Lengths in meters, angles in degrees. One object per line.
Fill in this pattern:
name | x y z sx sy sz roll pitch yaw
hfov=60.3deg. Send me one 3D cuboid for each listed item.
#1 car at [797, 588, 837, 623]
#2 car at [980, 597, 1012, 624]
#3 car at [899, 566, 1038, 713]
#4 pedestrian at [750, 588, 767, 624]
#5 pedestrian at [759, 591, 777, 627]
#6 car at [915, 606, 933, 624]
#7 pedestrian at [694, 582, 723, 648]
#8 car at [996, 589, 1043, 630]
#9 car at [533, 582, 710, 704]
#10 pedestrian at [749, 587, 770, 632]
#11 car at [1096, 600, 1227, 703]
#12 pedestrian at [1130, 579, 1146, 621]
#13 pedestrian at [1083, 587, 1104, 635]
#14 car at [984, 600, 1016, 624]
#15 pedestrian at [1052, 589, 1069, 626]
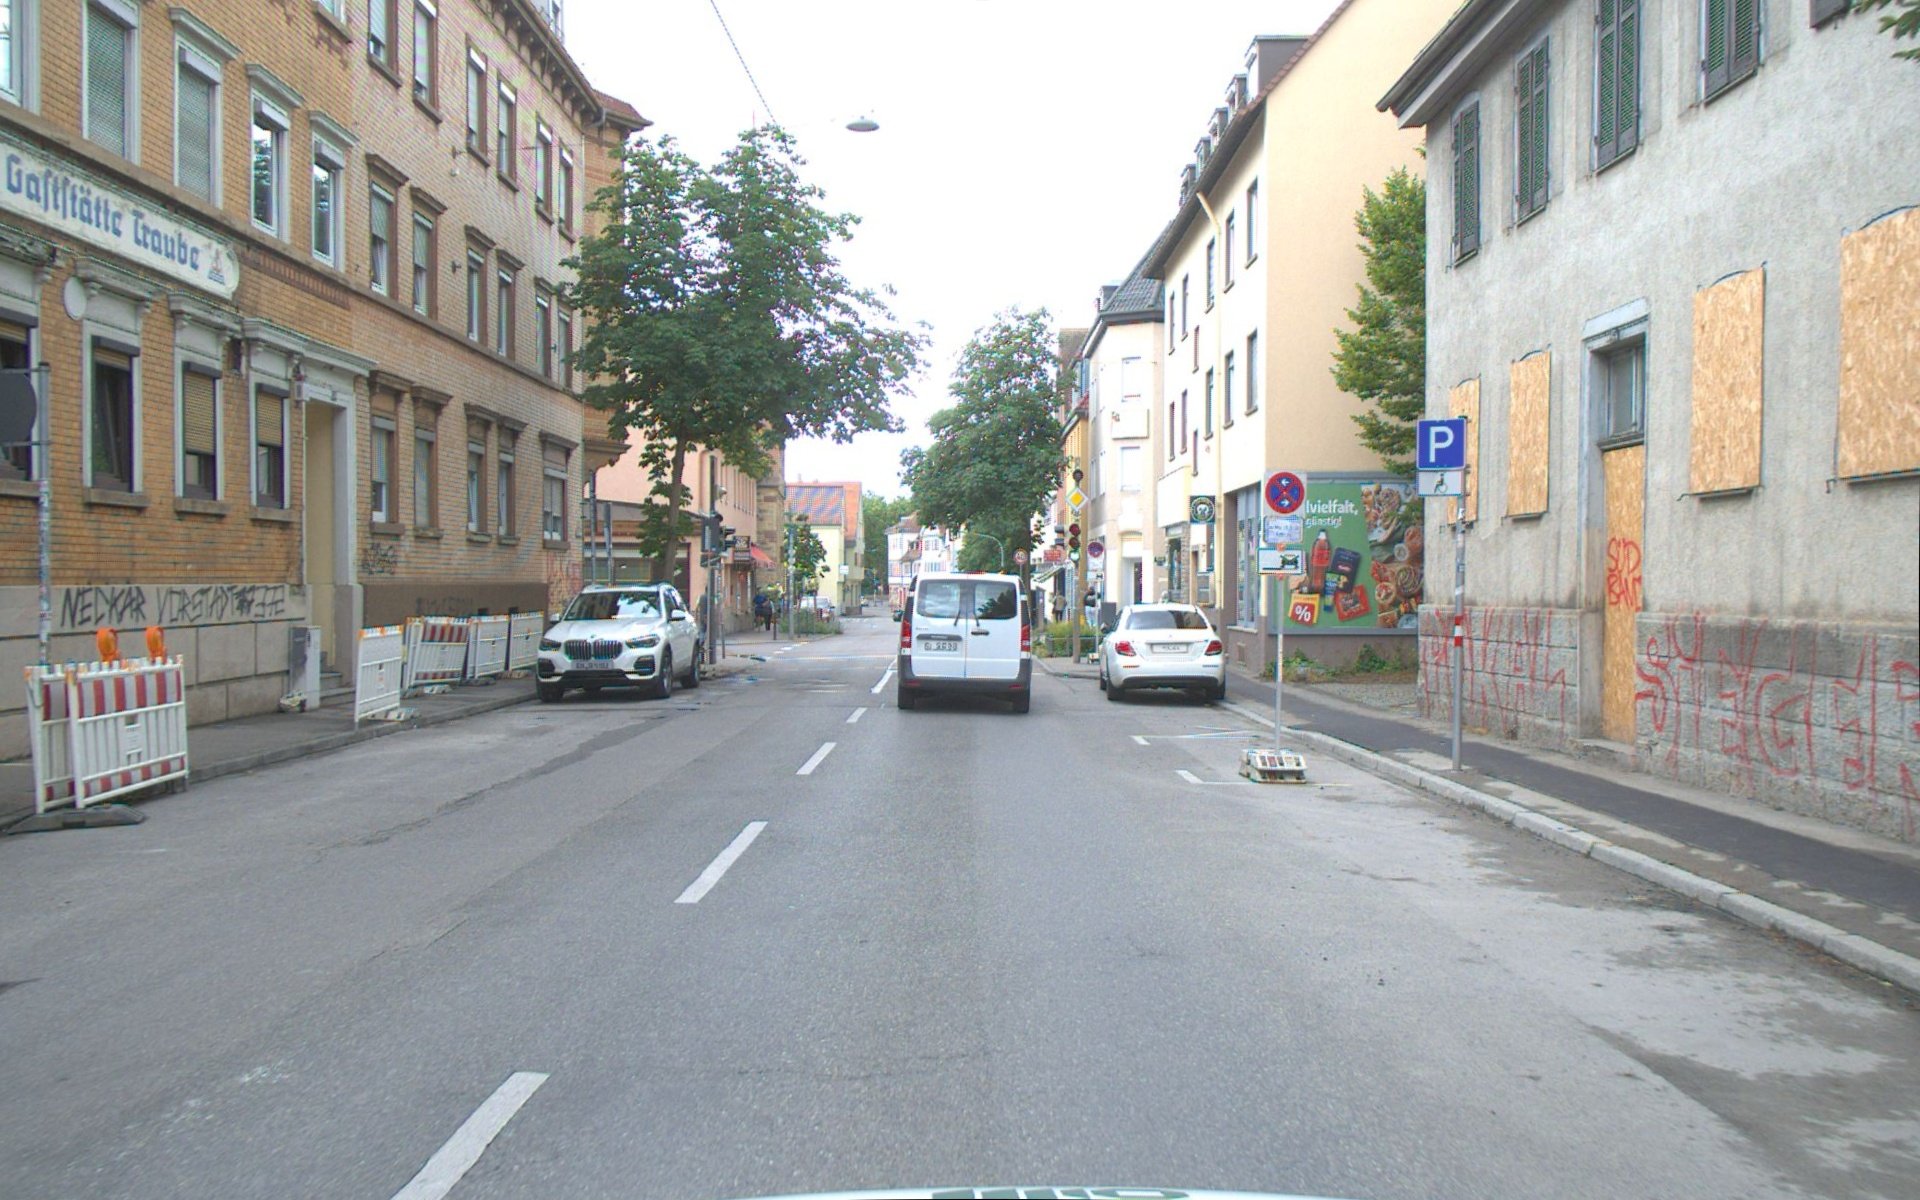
car | -6.969 0.247 80.883 1.668 1.601 4.449 -2 0 -2
car | 2.103 0.624 97.786 1.677 1.588 3.783 0 0 -3
car | 0.088 0.520 23.948 1.834 1.945 3.999 0 0 -1
pedestrian | -9.568 0.281 78.544 0.717 1.657 0.756 0 0 -11
pedestrian | -8.422 0.407 72.633 0.724 1.561 0.982 1 0 -3
car | -4.131 1.730 188.713 1.896 2.049 3.998 1 -1 -3
pedestrian | -6.819 0.401 44.858 0.724 1.785 0.981 1 0 -6
car | 2.702 0.452 75.779 1.783 1.812 4.400 0 0 -3
car | -5.354 0.624 26.754 1.852 1.742 4.741 -2 0 0
pedestrian | -7.964 0.361 65.675 0.724 1.748 1.156 1 0 -4
car | 3.180 0.763 26.873 1.730 1.491 4.785 0 0 2
pedestrian | 6.906 0.005 64.160 0.555 1.588 0.520 1 -1 -1
pedestrian | 4.783 0.383 59.173 0.602 1.682 0.982 1 0 -2
car | 2.221 0.667 93.193 1.520 1.356 3.810 0 0 -3
pedestrian | 4.636 0.347 76.194 0.687 1.678 0.888 -1 0 -2
